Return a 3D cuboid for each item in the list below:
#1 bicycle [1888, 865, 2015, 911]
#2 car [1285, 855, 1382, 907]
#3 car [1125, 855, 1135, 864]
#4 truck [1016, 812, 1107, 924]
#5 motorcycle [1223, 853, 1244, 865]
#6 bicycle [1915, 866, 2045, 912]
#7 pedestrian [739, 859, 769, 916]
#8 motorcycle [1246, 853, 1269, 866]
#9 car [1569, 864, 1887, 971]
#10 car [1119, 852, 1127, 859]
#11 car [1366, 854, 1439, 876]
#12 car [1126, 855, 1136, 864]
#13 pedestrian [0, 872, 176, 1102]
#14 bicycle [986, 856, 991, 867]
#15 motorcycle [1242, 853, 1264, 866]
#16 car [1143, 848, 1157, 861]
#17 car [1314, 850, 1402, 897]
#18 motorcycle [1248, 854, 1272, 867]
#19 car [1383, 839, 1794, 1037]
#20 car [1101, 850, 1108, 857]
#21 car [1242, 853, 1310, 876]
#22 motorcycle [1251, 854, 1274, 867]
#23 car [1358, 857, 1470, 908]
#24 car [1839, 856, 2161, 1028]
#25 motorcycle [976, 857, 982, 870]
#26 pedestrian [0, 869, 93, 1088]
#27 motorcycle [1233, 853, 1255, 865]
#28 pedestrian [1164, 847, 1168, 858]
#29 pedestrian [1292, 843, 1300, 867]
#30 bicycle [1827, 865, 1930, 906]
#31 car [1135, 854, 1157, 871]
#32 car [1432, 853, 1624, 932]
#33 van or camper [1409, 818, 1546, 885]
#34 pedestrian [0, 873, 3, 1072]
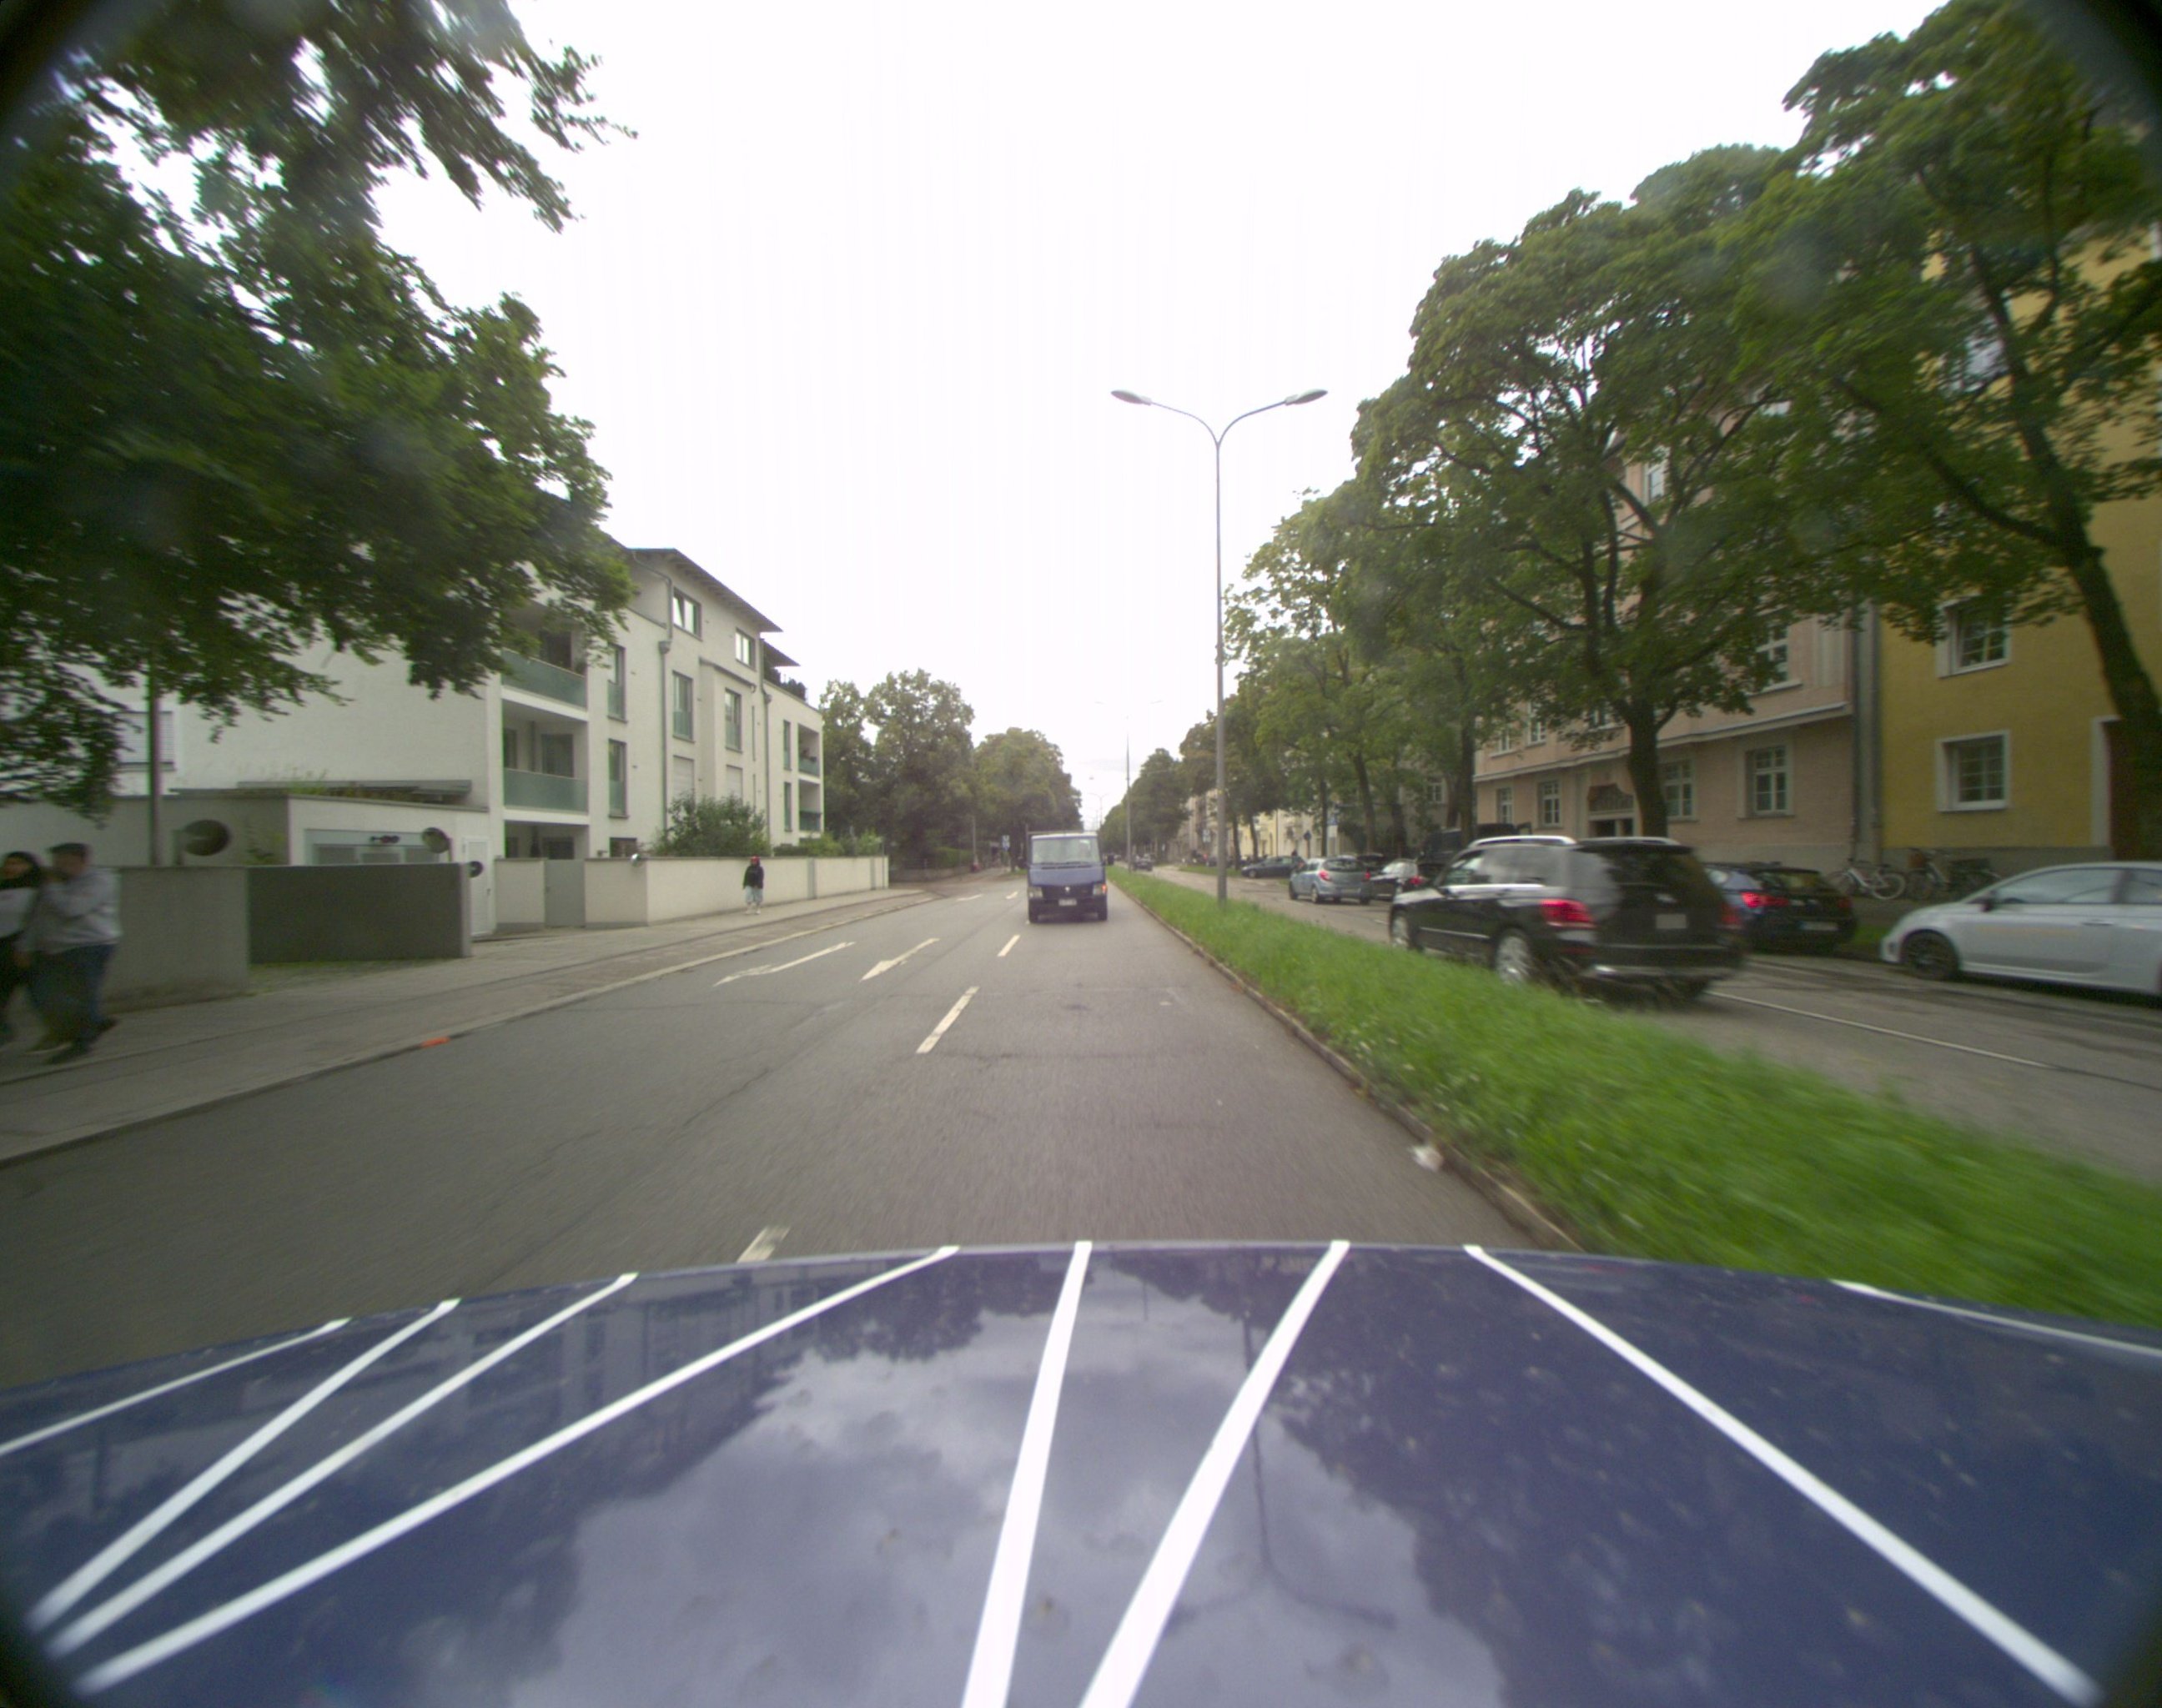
[{"bbox_3d":[18.822,0.717,16.493,0.543,0.894,1.930,-1,0,0],"label":"bicycle"},{"bbox_3d":[8.053,0.818,24.638,1.815,1.498,4.057,1,0,0],"label":"car"},{"bbox_3d":[11.182,1.232,173.422,1.872,1.827,4.000,-1,0,0],"label":"car"},{"bbox_3d":[-0.399,0.305,19.611,1.998,2.475,5.151,-1,0,1],"label":"truck"},{"bbox_3d":[15.008,0.511,74.594,1.954,1.143,0.597,-1,1,21],"label":"motorcycle"},{"bbox_3d":[19.425,0.740,16.492,0.543,0.894,1.930,-1,0,0],"label":"bicycle"},{"bbox_3d":[-9.234,0.944,21.488,0.529,1.572,0.729,1,1,-1],"label":"pedestrian"},{"bbox_3d":[16.052,0.534,69.199,1.953,1.143,0.597,-1,1,38],"label":"motorcycle"},{"bbox_3d":[10.557,0.928,12.935,1.731,1.398,4.363,-1,0,0],"label":"car"},{"bbox_3d":[11.390,0.410,205.898,1.872,1.827,4.000,-1,0,0],"label":"car"},{"bbox_3d":[20.991,0.698,49.672,3.997,1.314,1.795,-1,0,-1],"label":"car"},{"bbox_3d":[10.987,1.174,167.978,1.872,1.827,4.000,-1,0,0],"label":"car"},{"bbox_3d":[-8.031,1.016,6.096,0.668,1.712,0.729,1,1,-1],"label":"pedestrian"},{"bbox_3d":[-9.505,0.765,78.064,0.490,1.092,1.631,-1,0,-10],"label":"bicycle"},{"bbox_3d":[15.981,0.526,70.716,1.953,1.143,0.597,-1,1,38],"label":"motorcycle"},{"bbox_3d":[11.027,0.127,121.212,1.790,2.002,4.000,-1,0,0],"label":"car"},{"bbox_3d":[10.793,0.703,29.980,1.878,1.677,4.438,-1,0,0],"label":"car"},{"bbox_3d":[15.658,0.548,66.586,1.953,1.143,0.597,-1,1,38],"label":"motorcycle"},{"bbox_3d":[5.197,0.710,8.672,1.774,1.669,4.368,1,0,0],"label":"car"},{"bbox_3d":[6.304,-0.069,203.992,1.814,1.761,4.000,-1,0,1],"label":"car"},{"bbox_3d":[12.629,0.701,49.079,3.990,1.367,1.865,-1,-1,23],"label":"car"},{"bbox_3d":[16.179,0.549,67.679,1.953,1.143,0.597,-1,1,38],"label":"motorcycle"},{"bbox_3d":[10.689,0.850,24.777,1.696,1.446,4.492,-1,0,0],"label":"car"},{"bbox_3d":[10.980,0.831,8.120,1.731,1.552,4.057,-1,0,0],"label":"car"},{"bbox_3d":[-9.479,0.874,70.536,0.497,1.135,1.631,-1,0,-10],"label":"motorcycle"},{"bbox_3d":[-8.745,0.979,6.102,0.668,1.683,0.729,1,1,-1],"label":"pedestrian"},{"bbox_3d":[15.538,0.513,72.498,1.953,1.143,0.597,-1,1,38],"label":"motorcycle"},{"bbox_3d":[16.168,-0.262,144.104,0.641,2.031,0.738,-1,1,11],"label":"pedestrian"},{"bbox_3d":[18.130,0.068,64.107,0.599,2.048,0.685,-1,1,20],"label":"pedestrian"},{"bbox_3d":[19.325,0.739,18.469,0.485,0.894,1.930,-1,0,0],"label":"bicycle"},{"bbox_3d":[6.281,0.802,73.867,1.815,1.498,4.323,1,0,0],"label":"car"},{"bbox_3d":[10.598,0.818,18.516,1.883,1.636,4.770,-1,0,0],"label":"car"},{"bbox_3d":[16.777,-0.107,32.758,2.351,2.564,6.850,-1,0,0],"label":"van or camper"},{"bbox_3d":[-9.529,1.008,6.096,0.668,1.695,0.766,1,1,-1],"label":"pedestrian"}]
